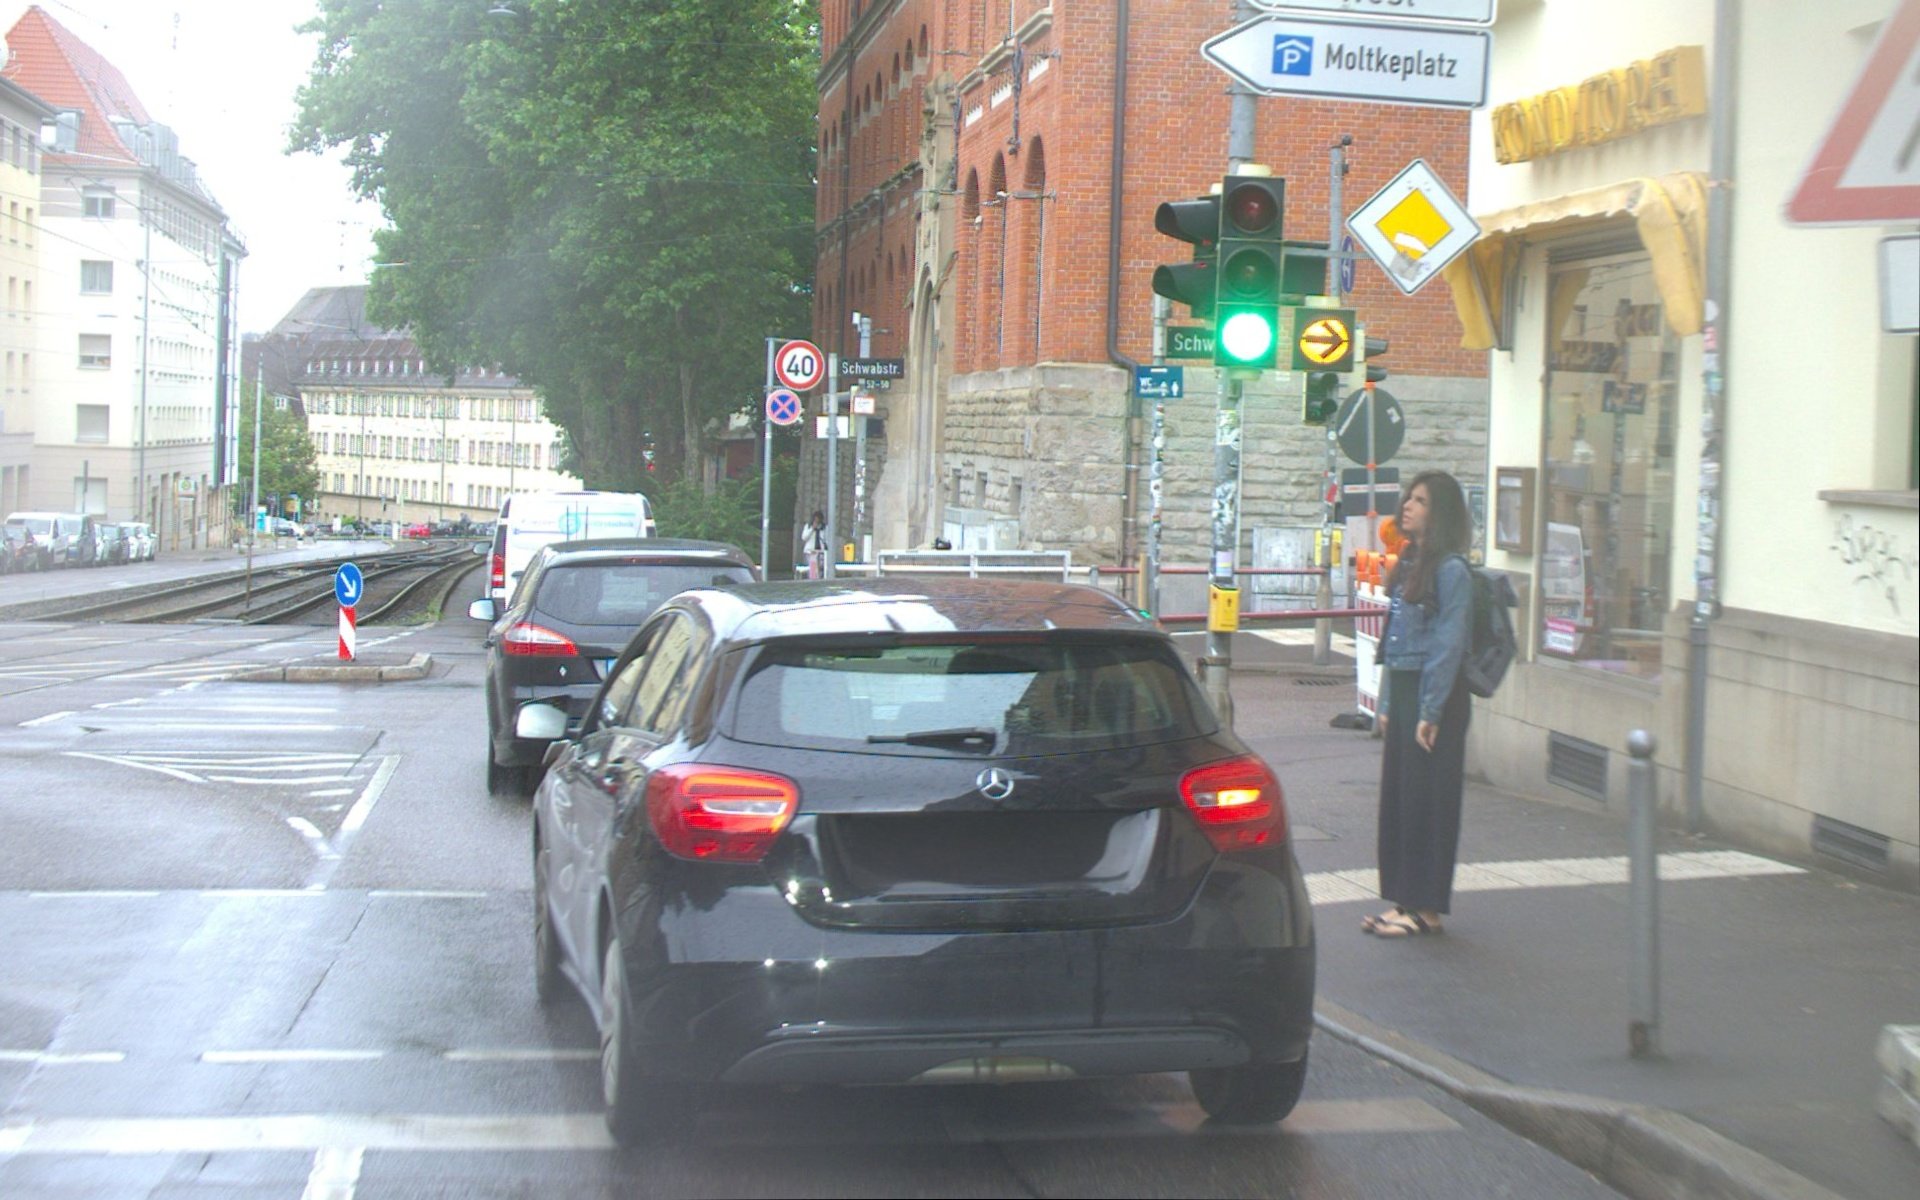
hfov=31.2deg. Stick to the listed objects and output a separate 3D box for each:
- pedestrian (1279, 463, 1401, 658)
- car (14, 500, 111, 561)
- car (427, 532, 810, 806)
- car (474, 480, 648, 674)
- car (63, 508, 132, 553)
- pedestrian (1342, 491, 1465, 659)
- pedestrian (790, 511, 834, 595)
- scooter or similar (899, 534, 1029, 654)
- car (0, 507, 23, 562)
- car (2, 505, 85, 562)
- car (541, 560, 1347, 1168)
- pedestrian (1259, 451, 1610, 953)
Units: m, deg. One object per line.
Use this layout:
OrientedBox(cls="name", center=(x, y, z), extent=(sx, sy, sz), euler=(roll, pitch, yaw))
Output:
OrientedBox(cls="pedestrian", center=(3.733, -0.395, 33.833), extent=(0.958, 1.881, 1.074), euler=(-1, 1, -7))
OrientedBox(cls="car", center=(-29.527, -2.293, 113.228), extent=(1.993, 1.898, 5.460), euler=(3, 1, -4))
OrientedBox(cls="car", center=(-2.184, 0.345, 20.885), extent=(1.933, 1.448, 4.319), euler=(2, 1, -10))
OrientedBox(cls="car", center=(-4.469, -0.271, 38.118), extent=(1.740, 2.007, 3.905), euler=(1, 1, -9))
OrientedBox(cls="car", center=(-30.800, -2.499, 122.839), extent=(1.813, 1.494, 4.584), euler=(2, 1, -7))
OrientedBox(cls="pedestrian", center=(4.375, -0.258, 33.970), extent=(0.958, 1.620, 1.074), euler=(-1, 1, -7))
OrientedBox(cls="pedestrian", center=(-2.988, -0.944, 69.351), extent=(0.823, 1.673, 0.860), euler=(1, 1, -4))
OrientedBox(cls="scooter or similar", center=(0.044, -0.071, 36.232), extent=(1.247, 1.246, 0.637), euler=(0, 1, 15))
OrientedBox(cls="car", center=(-27.246, -1.843, 95.936), extent=(1.851, 1.503, 4.993), euler=(1, 1, -12))
OrientedBox(cls="car", center=(-28.570, -2.056, 107.226), extent=(1.866, 1.711, 4.461), euler=(1, 1, -7))
OrientedBox(cls="car", center=(-0.266, 0.609, 10.061), extent=(1.794, 1.370, 4.001), euler=(2, 1, -8))
OrientedBox(cls="pedestrian", center=(1.701, 0.345, 12.468), extent=(1.016, 1.714, 0.930), euler=(-2, 1, -5))
